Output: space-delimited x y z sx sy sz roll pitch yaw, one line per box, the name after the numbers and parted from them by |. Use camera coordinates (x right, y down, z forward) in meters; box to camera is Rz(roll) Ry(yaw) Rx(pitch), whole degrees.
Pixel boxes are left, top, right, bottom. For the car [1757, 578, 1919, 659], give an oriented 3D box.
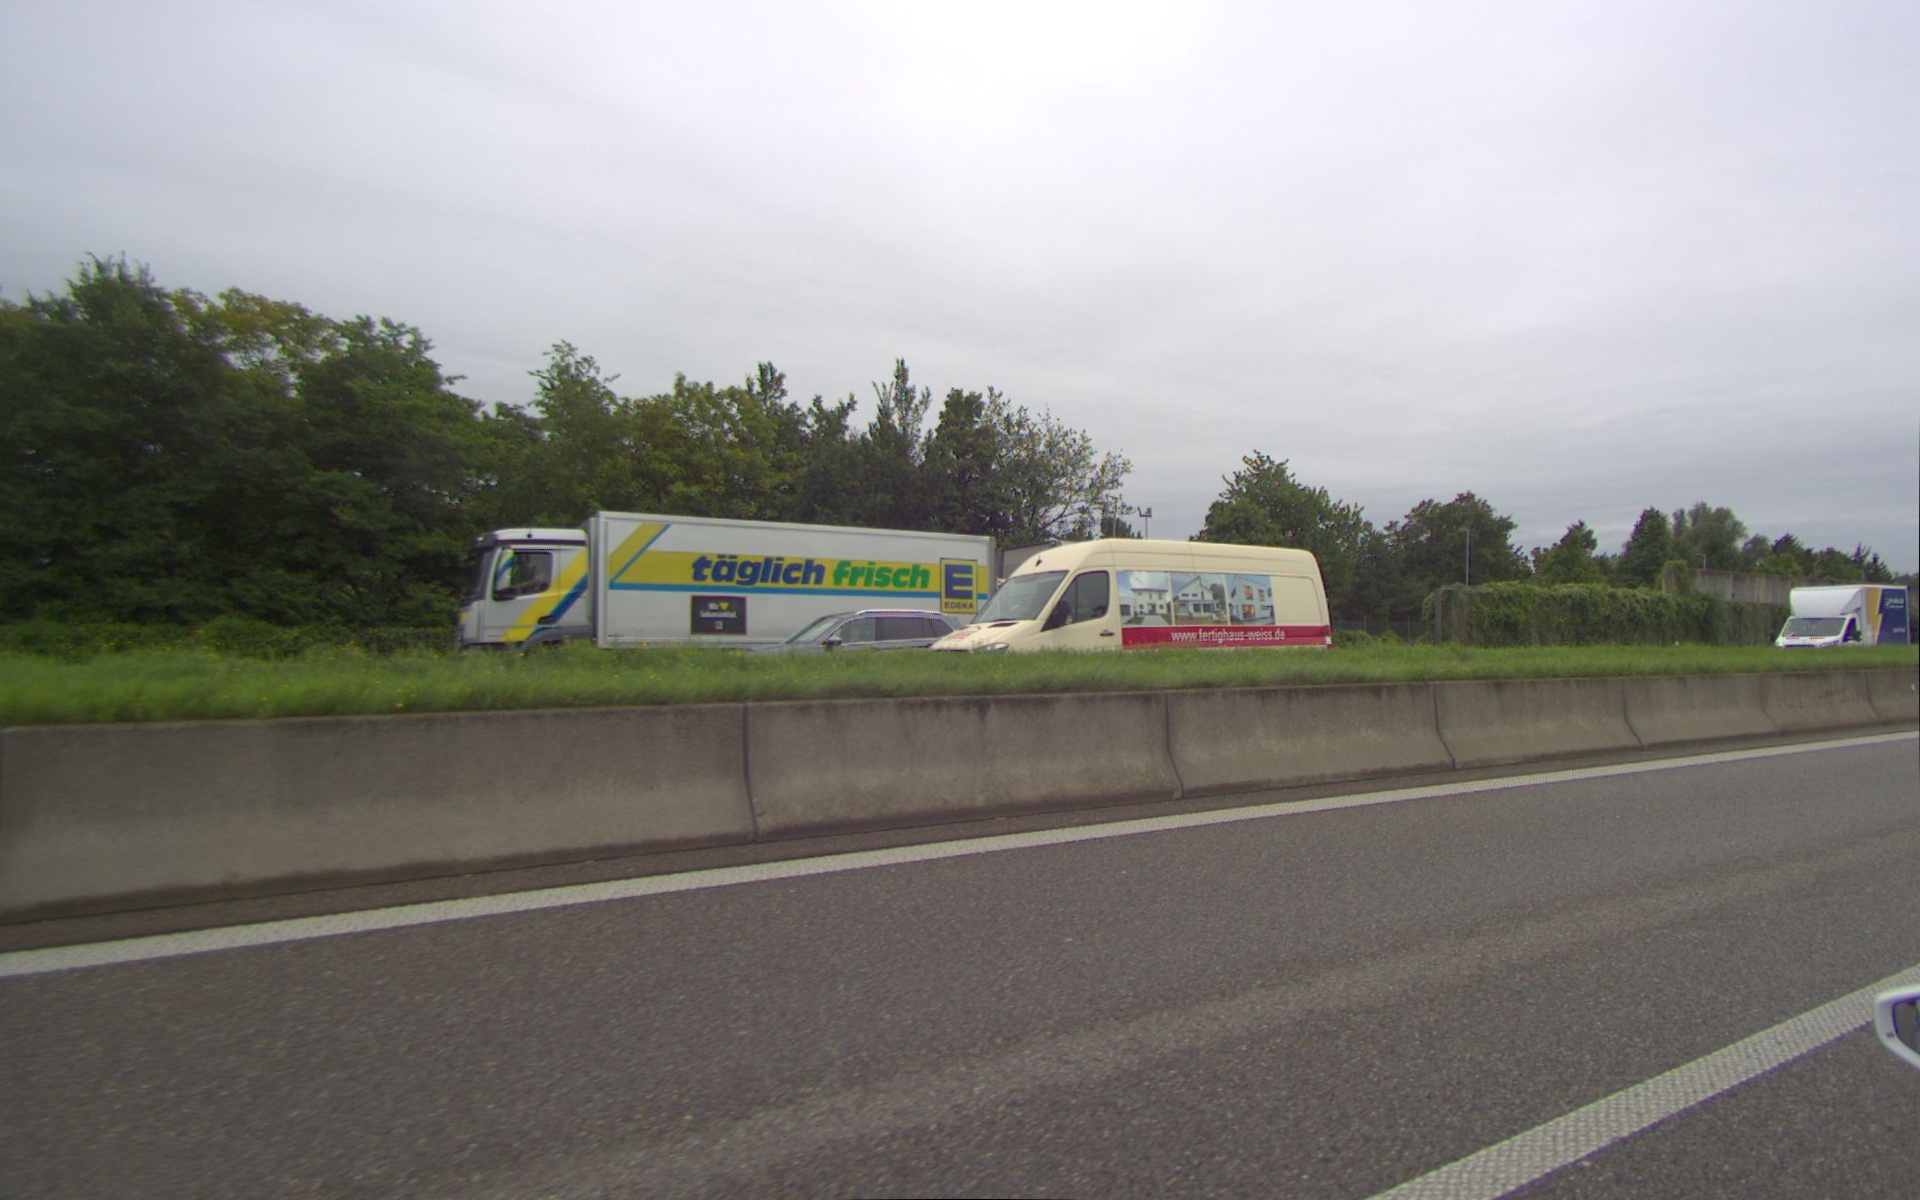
32.528 0.715 37.080 7.228 2.771 2.311 2 0 -30 | car

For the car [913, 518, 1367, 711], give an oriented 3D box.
2.970 0.272 15.370 7.239 2.417 2.048 2 0 -31 | car

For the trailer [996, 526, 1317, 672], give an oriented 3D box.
4.940 0.075 24.637 7.779 3.118 2.764 2 0 -30 | trailer

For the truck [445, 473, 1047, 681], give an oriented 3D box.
-3.768 -0.220 19.798 11.222 3.264 2.871 2 0 -30 | truck

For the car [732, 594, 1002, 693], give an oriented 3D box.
-1.516 0.690 16.500 3.952 1.432 1.984 2 0 -29 | car
